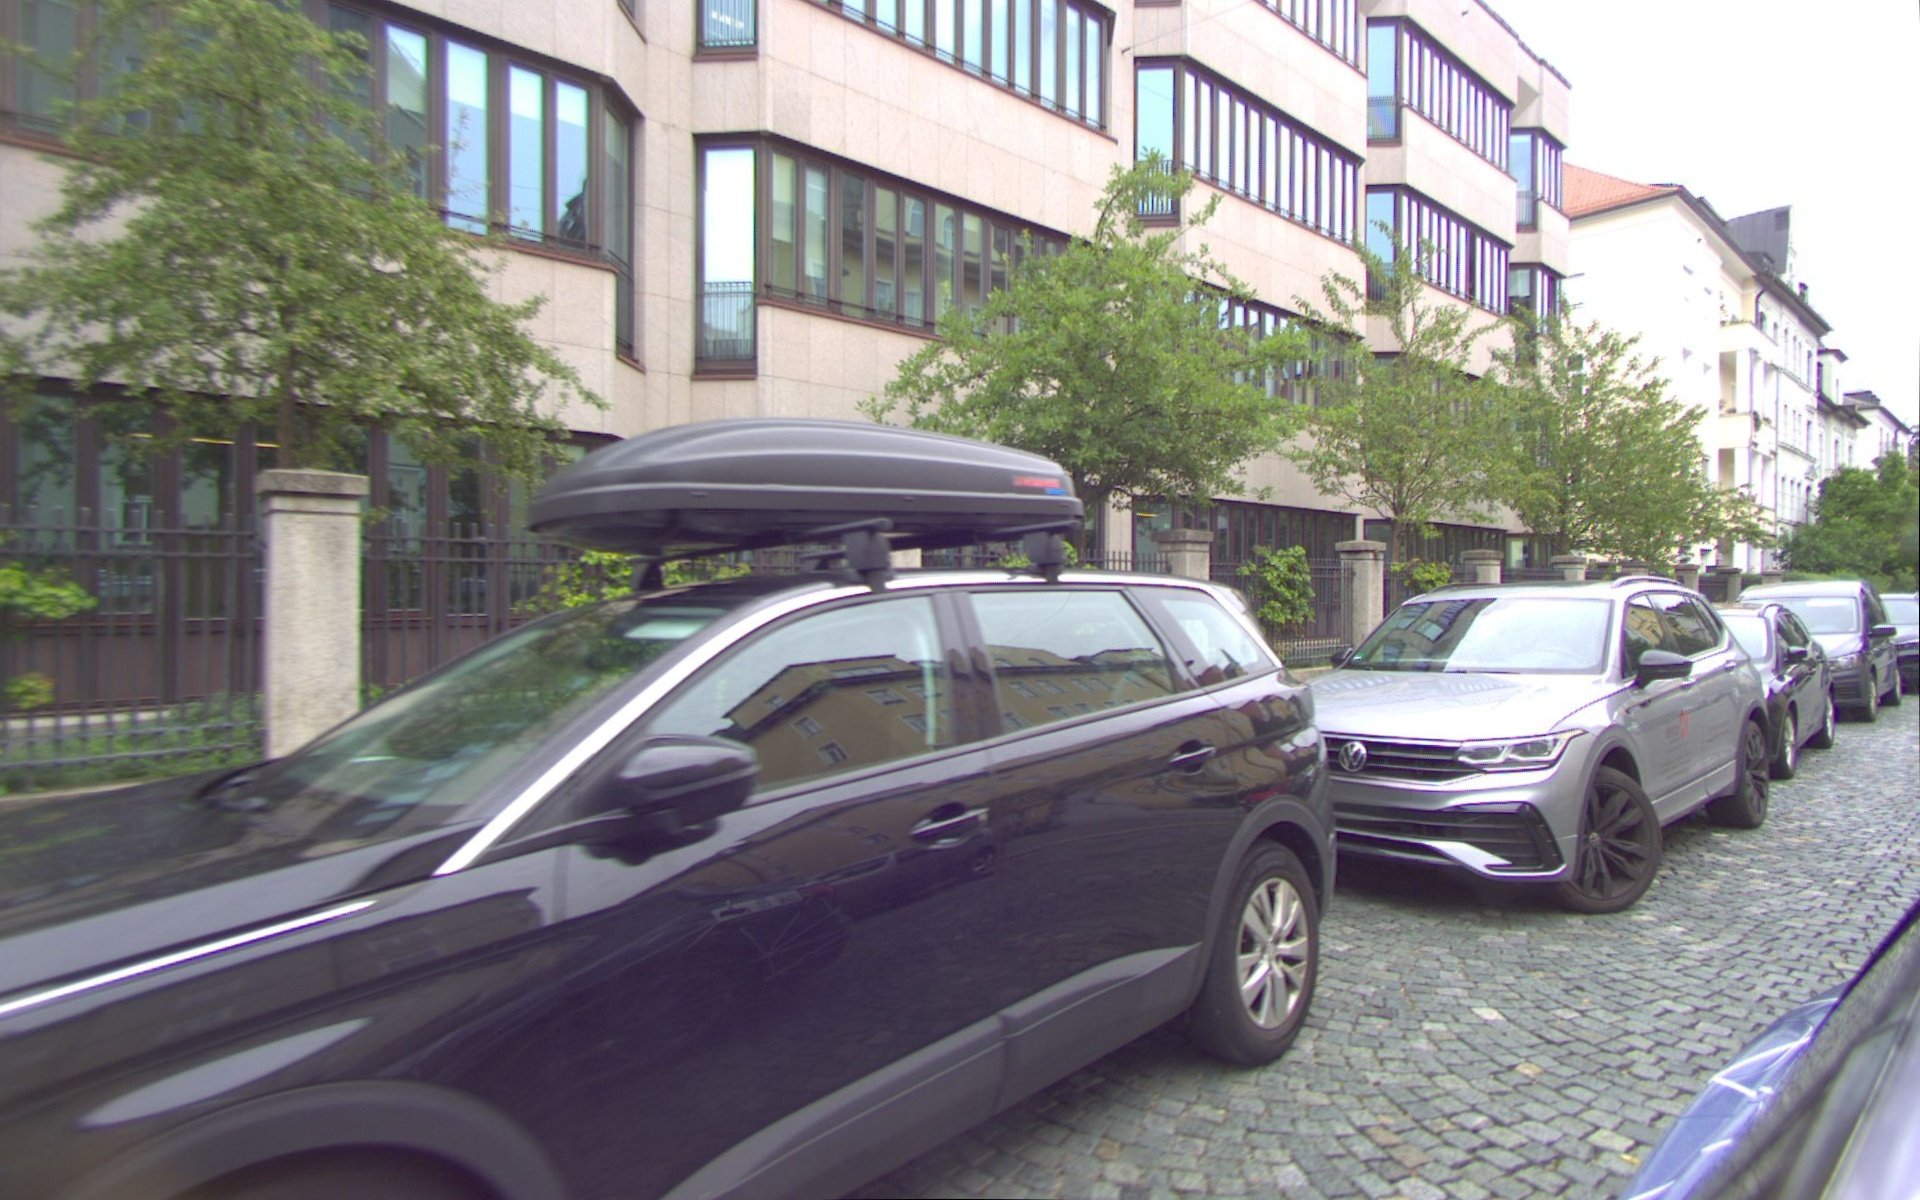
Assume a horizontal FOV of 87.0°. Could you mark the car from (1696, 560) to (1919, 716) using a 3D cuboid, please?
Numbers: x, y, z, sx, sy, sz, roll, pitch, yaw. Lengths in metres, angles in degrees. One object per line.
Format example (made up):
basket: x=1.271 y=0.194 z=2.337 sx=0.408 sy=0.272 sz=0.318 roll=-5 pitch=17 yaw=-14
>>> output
car: x=11.827 y=0.480 z=13.934 sx=4.432 sy=1.820 sz=1.790 roll=0 pitch=-3 yaw=-42

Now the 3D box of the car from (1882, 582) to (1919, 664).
car: x=22.227 y=0.479 z=22.868 sx=3.820 sy=1.773 sz=1.620 roll=0 pitch=-2 yaw=-42

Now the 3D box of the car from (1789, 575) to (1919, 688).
car: x=15.946 y=0.488 z=17.339 sx=4.729 sy=1.724 sz=1.863 roll=0 pitch=-2 yaw=-41

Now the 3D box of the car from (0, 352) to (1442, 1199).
car: x=-0.545 y=0.630 z=2.933 sx=4.668 sy=1.757 sz=1.874 roll=0 pitch=-3 yaw=-43

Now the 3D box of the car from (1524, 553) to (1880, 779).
car: x=7.547 y=0.552 z=10.110 sx=4.578 sy=1.757 sz=1.875 roll=0 pitch=-3 yaw=-42

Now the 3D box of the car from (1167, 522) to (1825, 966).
car: x=3.581 y=0.571 z=6.278 sx=4.804 sy=1.757 sz=1.876 roll=-1 pitch=-1 yaw=-40
